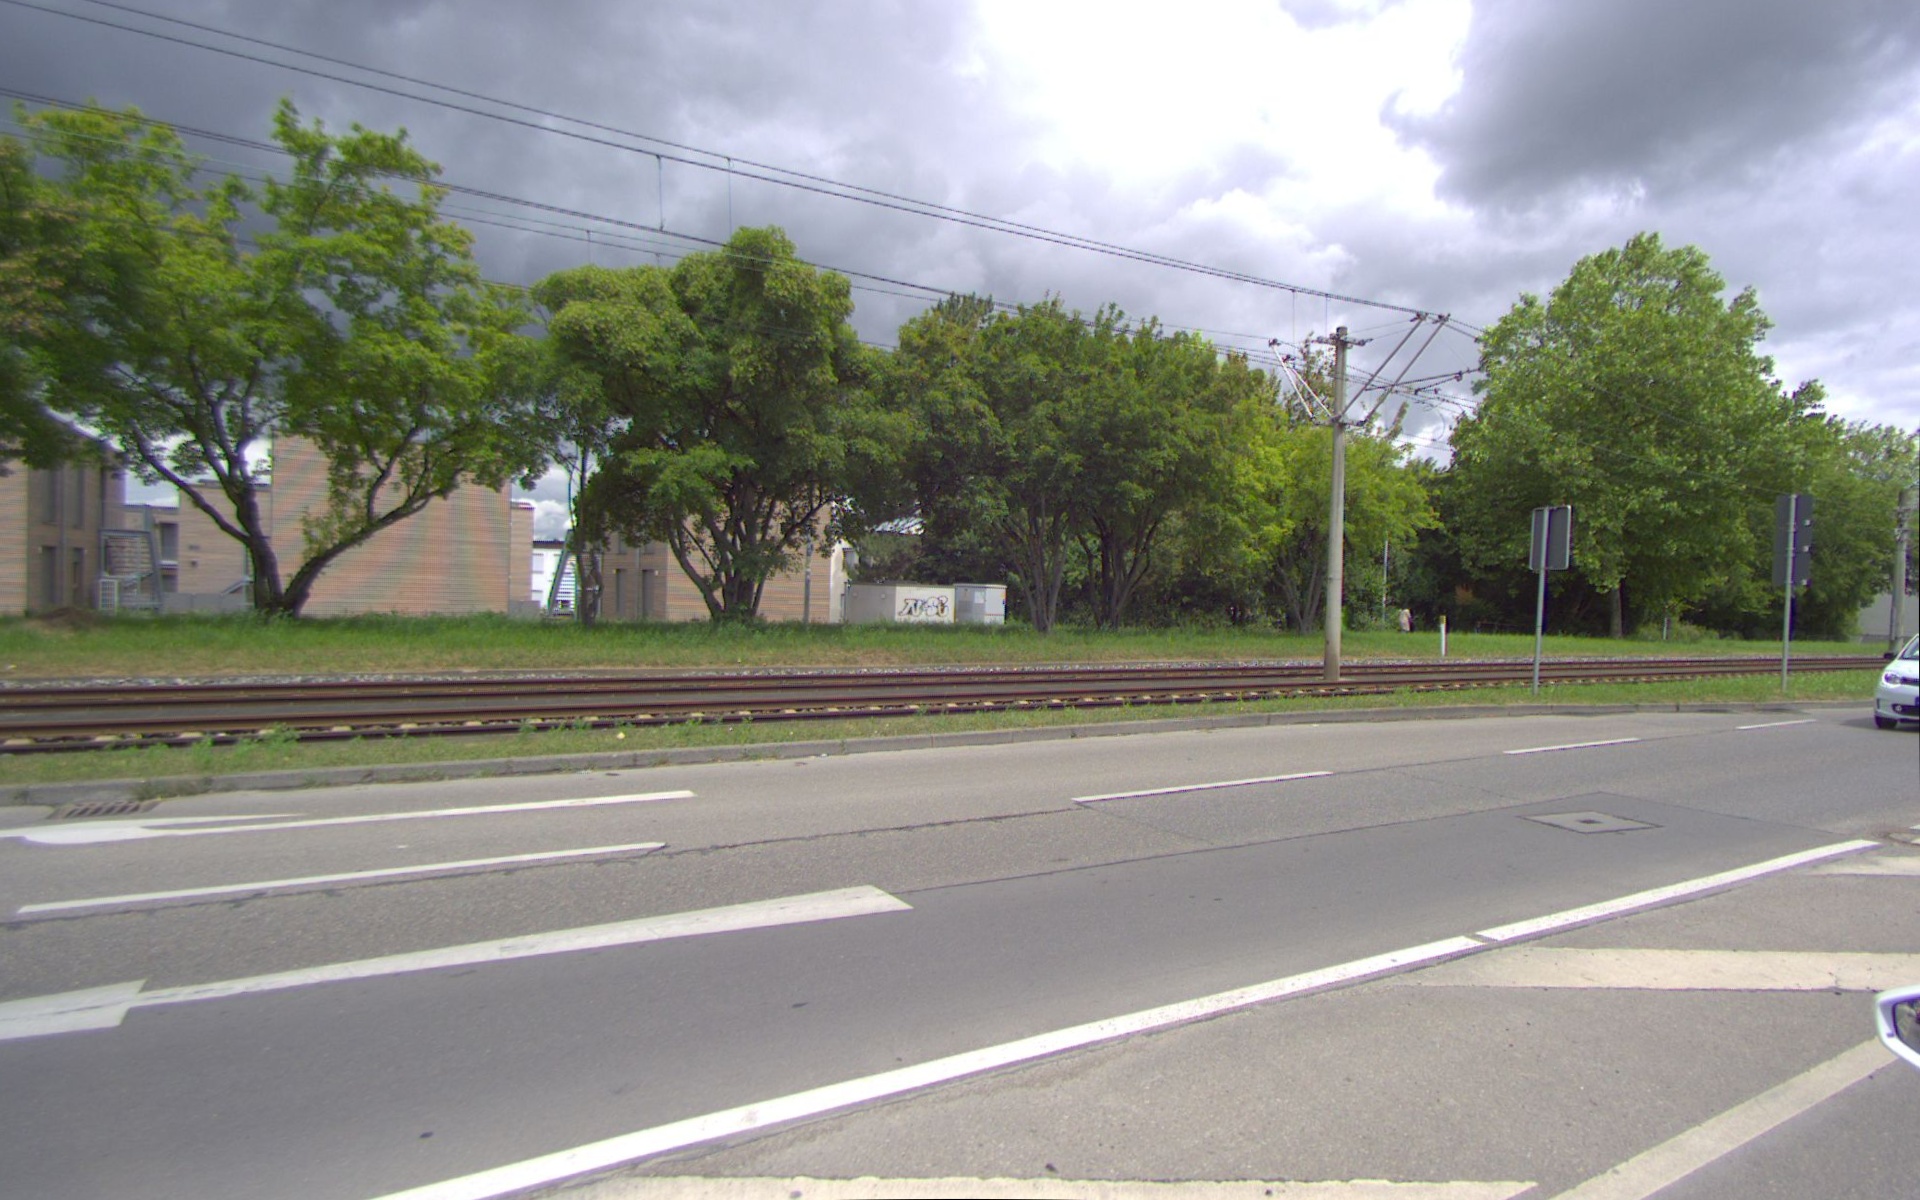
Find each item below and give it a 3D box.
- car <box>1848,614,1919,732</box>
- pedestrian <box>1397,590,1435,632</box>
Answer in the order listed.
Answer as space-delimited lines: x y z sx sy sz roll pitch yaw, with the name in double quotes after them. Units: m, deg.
15.402 1.119 15.175 4.214 1.634 1.720 2 1 -31 "car"
22.237 0.531 48.987 1.348 1.959 1.029 1 1 -31 "pedestrian"
